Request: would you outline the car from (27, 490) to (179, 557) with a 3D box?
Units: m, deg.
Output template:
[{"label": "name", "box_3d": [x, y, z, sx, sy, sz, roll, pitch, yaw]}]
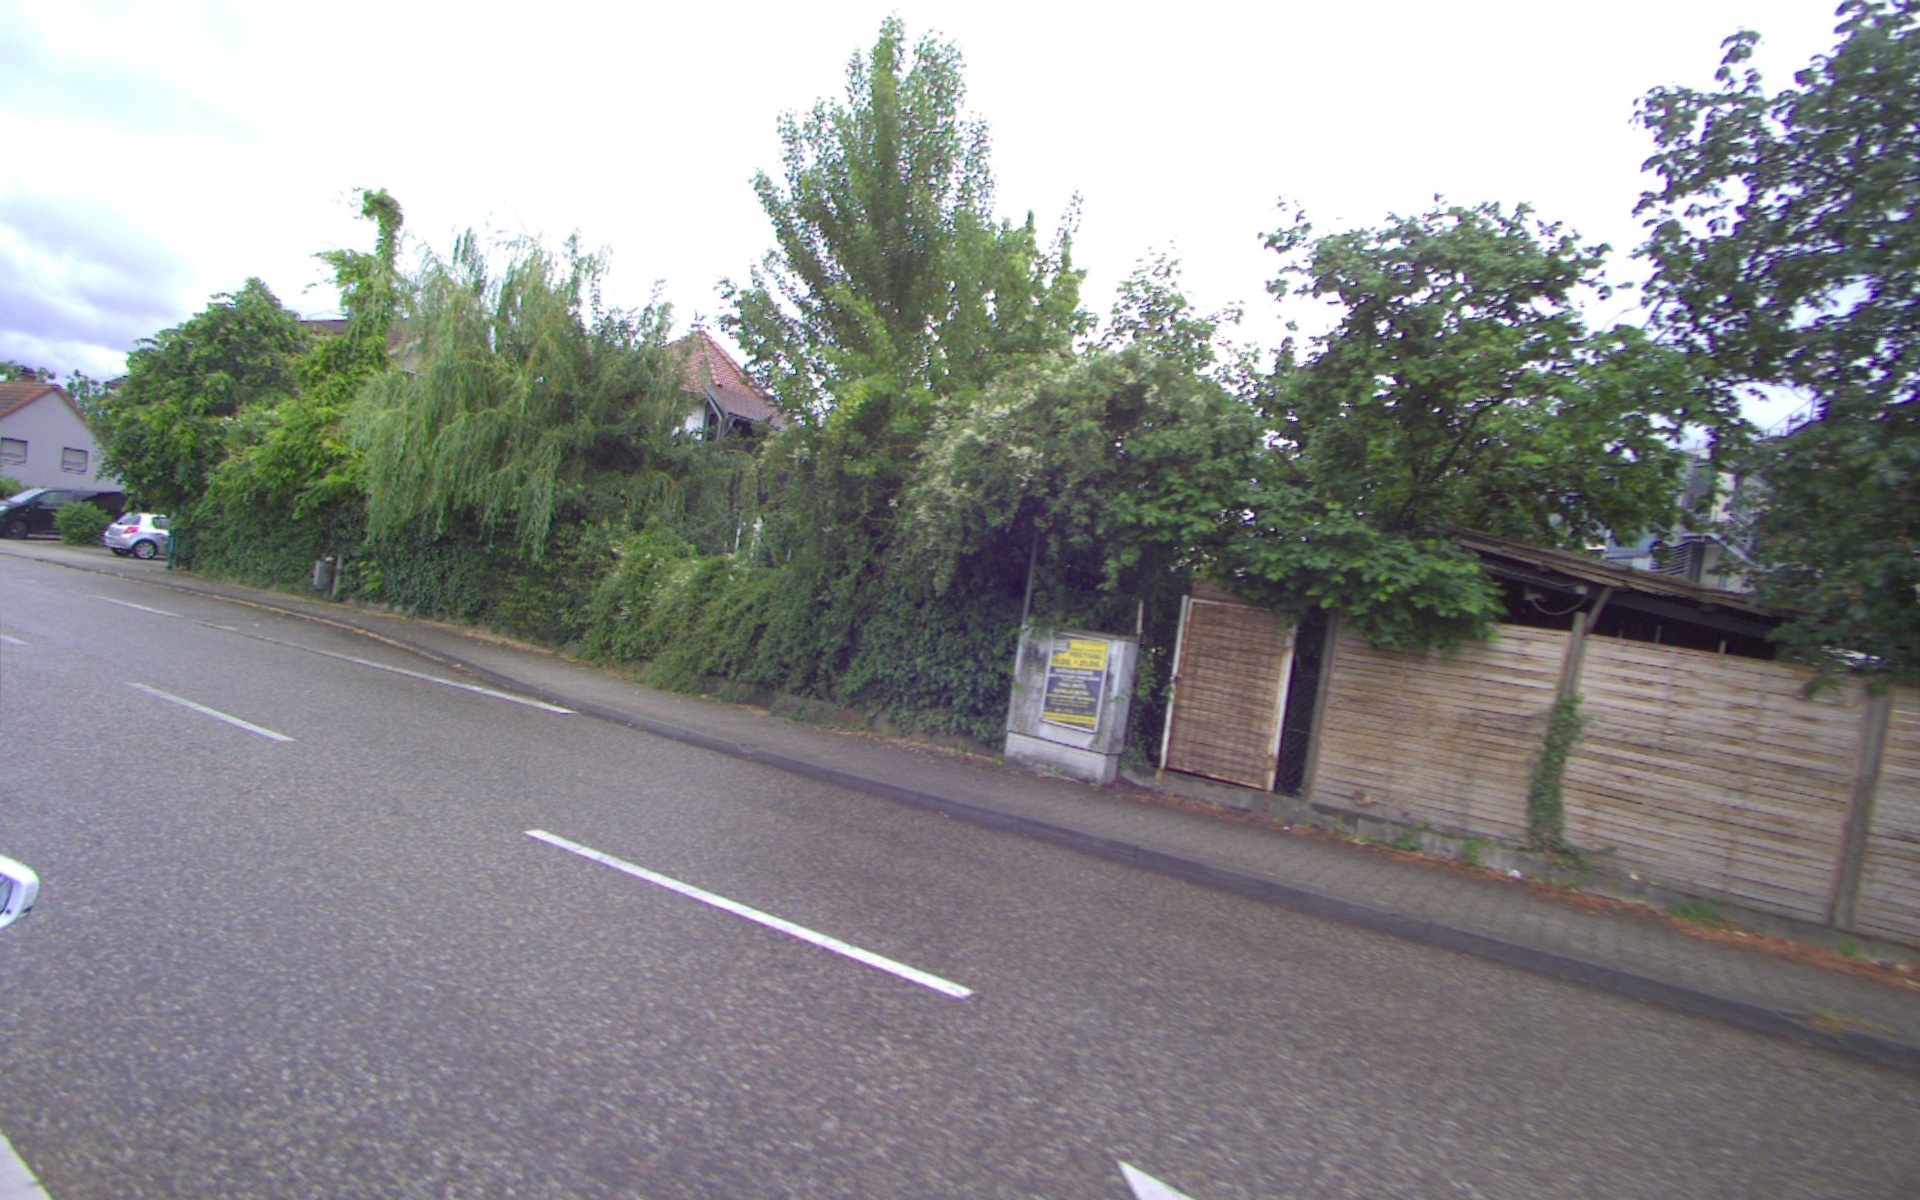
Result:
[{"label": "car", "box_3d": [-30.134, -2.676, 35.479, 1.679, 1.768, 3.632, 7, 0, 31]}]

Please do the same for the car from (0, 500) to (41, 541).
[{"label": "car", "box_3d": [-37.209, -3.182, 37.759, 1.495, 1.385, 3.693, 5, -3, 33]}]

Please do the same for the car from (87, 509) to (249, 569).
[{"label": "car", "box_3d": [-25.632, -1.936, 32.689, 1.699, 1.412, 3.721, 6, -1, 27]}]

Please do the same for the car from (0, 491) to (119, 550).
[{"label": "car", "box_3d": [-32.687, -2.872, 35.907, 1.761, 1.646, 3.633, 7, 0, 30]}]
